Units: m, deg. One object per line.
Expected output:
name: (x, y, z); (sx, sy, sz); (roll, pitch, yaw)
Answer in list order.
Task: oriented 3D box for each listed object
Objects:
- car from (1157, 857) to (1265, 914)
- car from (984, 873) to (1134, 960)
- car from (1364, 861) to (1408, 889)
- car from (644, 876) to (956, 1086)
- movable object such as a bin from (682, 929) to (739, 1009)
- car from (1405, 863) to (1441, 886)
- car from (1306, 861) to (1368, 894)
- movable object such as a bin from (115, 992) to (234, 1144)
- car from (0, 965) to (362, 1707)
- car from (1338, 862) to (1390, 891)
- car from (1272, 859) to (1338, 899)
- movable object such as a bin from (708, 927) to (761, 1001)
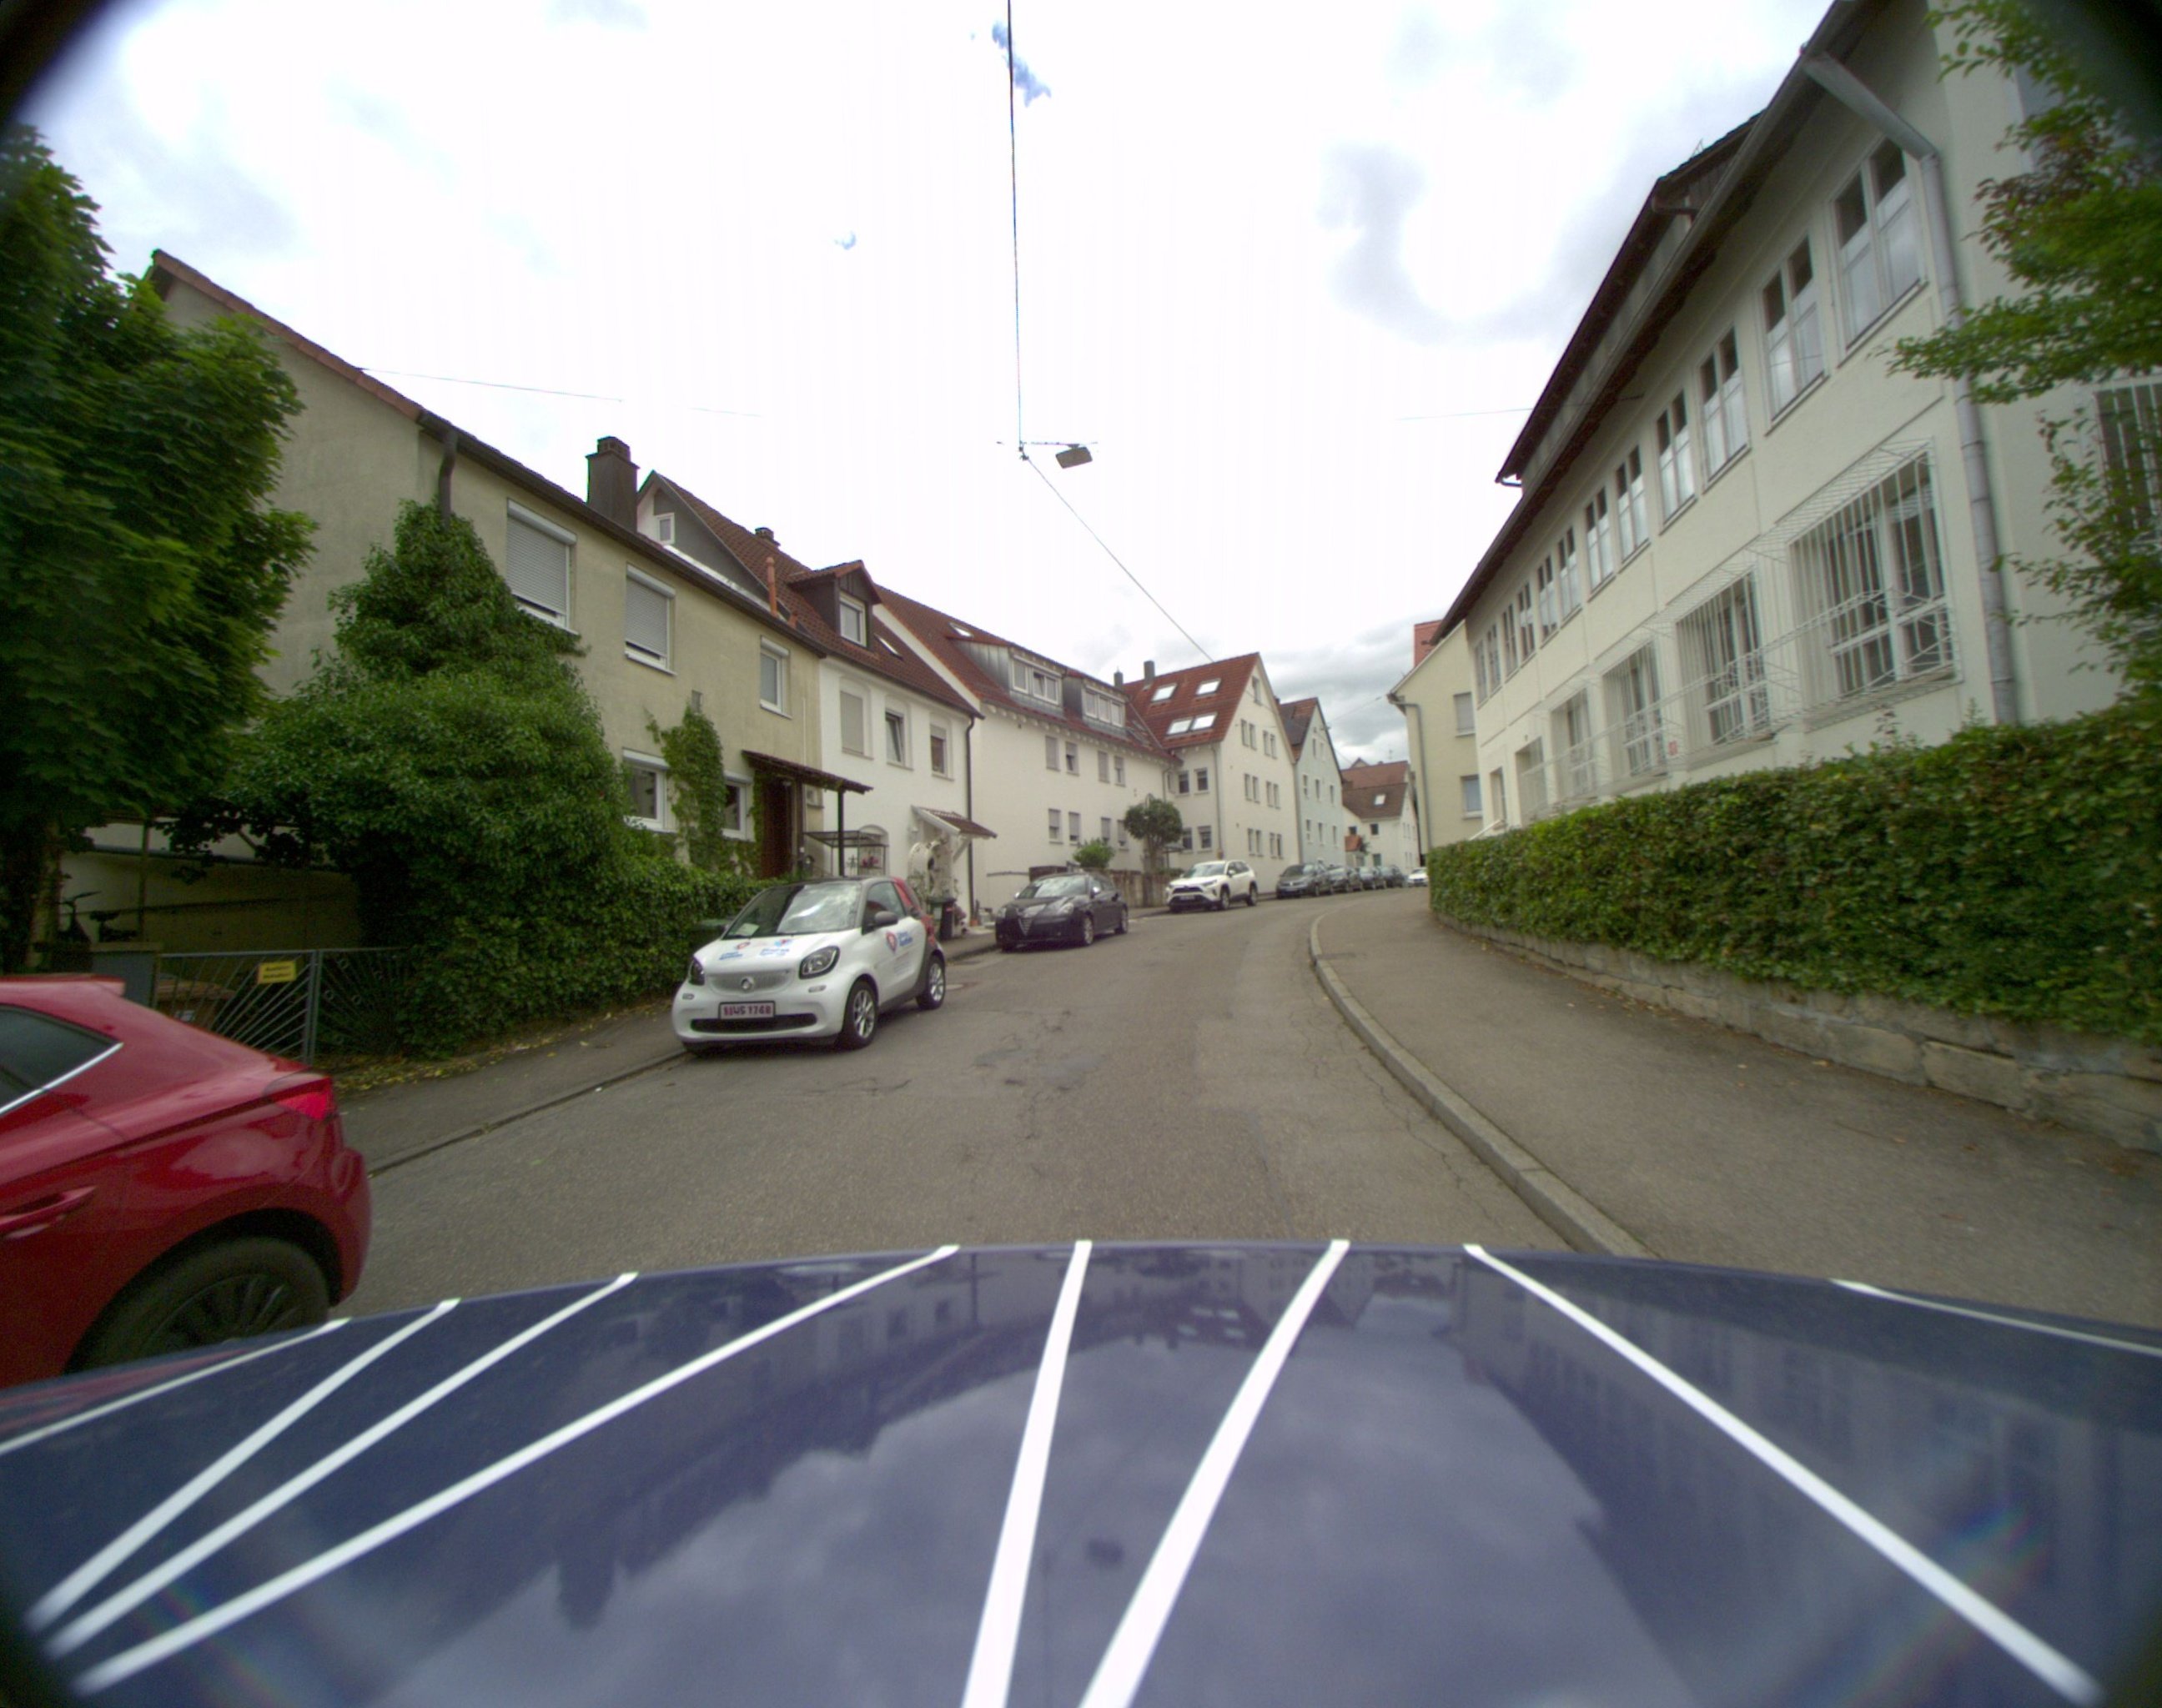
car: (4.487, 1.040, 25.709); (1.948, 1.629, 4.470); (-7, -4, 31)
car: (-0.289, 1.185, 15.592); (1.720, 1.398, 4.009); (-5, -2, 18)
car: (18.918, 1.311, 46.995); (1.640, 1.502, 3.849); (-7, -5, 33)
car: (-2.580, 1.109, 7.703); (1.614, 1.523, 2.899); (-6, -1, 9)
movable object such as a bin: (-4.622, 1.425, 9.501); (0.438, 0.908, 0.446); (0, 2, 14)
car: (26.124, 1.575, 58.029); (1.768, 1.552, 4.049); (-7, -5, 33)
car: (13.054, 1.179, 38.601); (1.810, 1.433, 3.967); (-7, -4, 34)
movable object such as a bin: (-6.302, 1.469, 5.292); (0.372, 0.944, 0.375); (-2, 0, 11)
car: (-3.116, 1.123, 0.427); (1.683, 1.443, 3.851); (-4, 0, -1)
car: (15.993, 1.273, 42.808); (1.727, 1.433, 4.274); (-7, -5, 32)
car: (10.128, 1.097, 34.181); (1.737, 1.554, 3.916); (-7, -4, 31)
movable object such as a bin: (-4.557, 1.435, 10.001); (0.438, 0.893, 0.446); (0, 2, 14)
